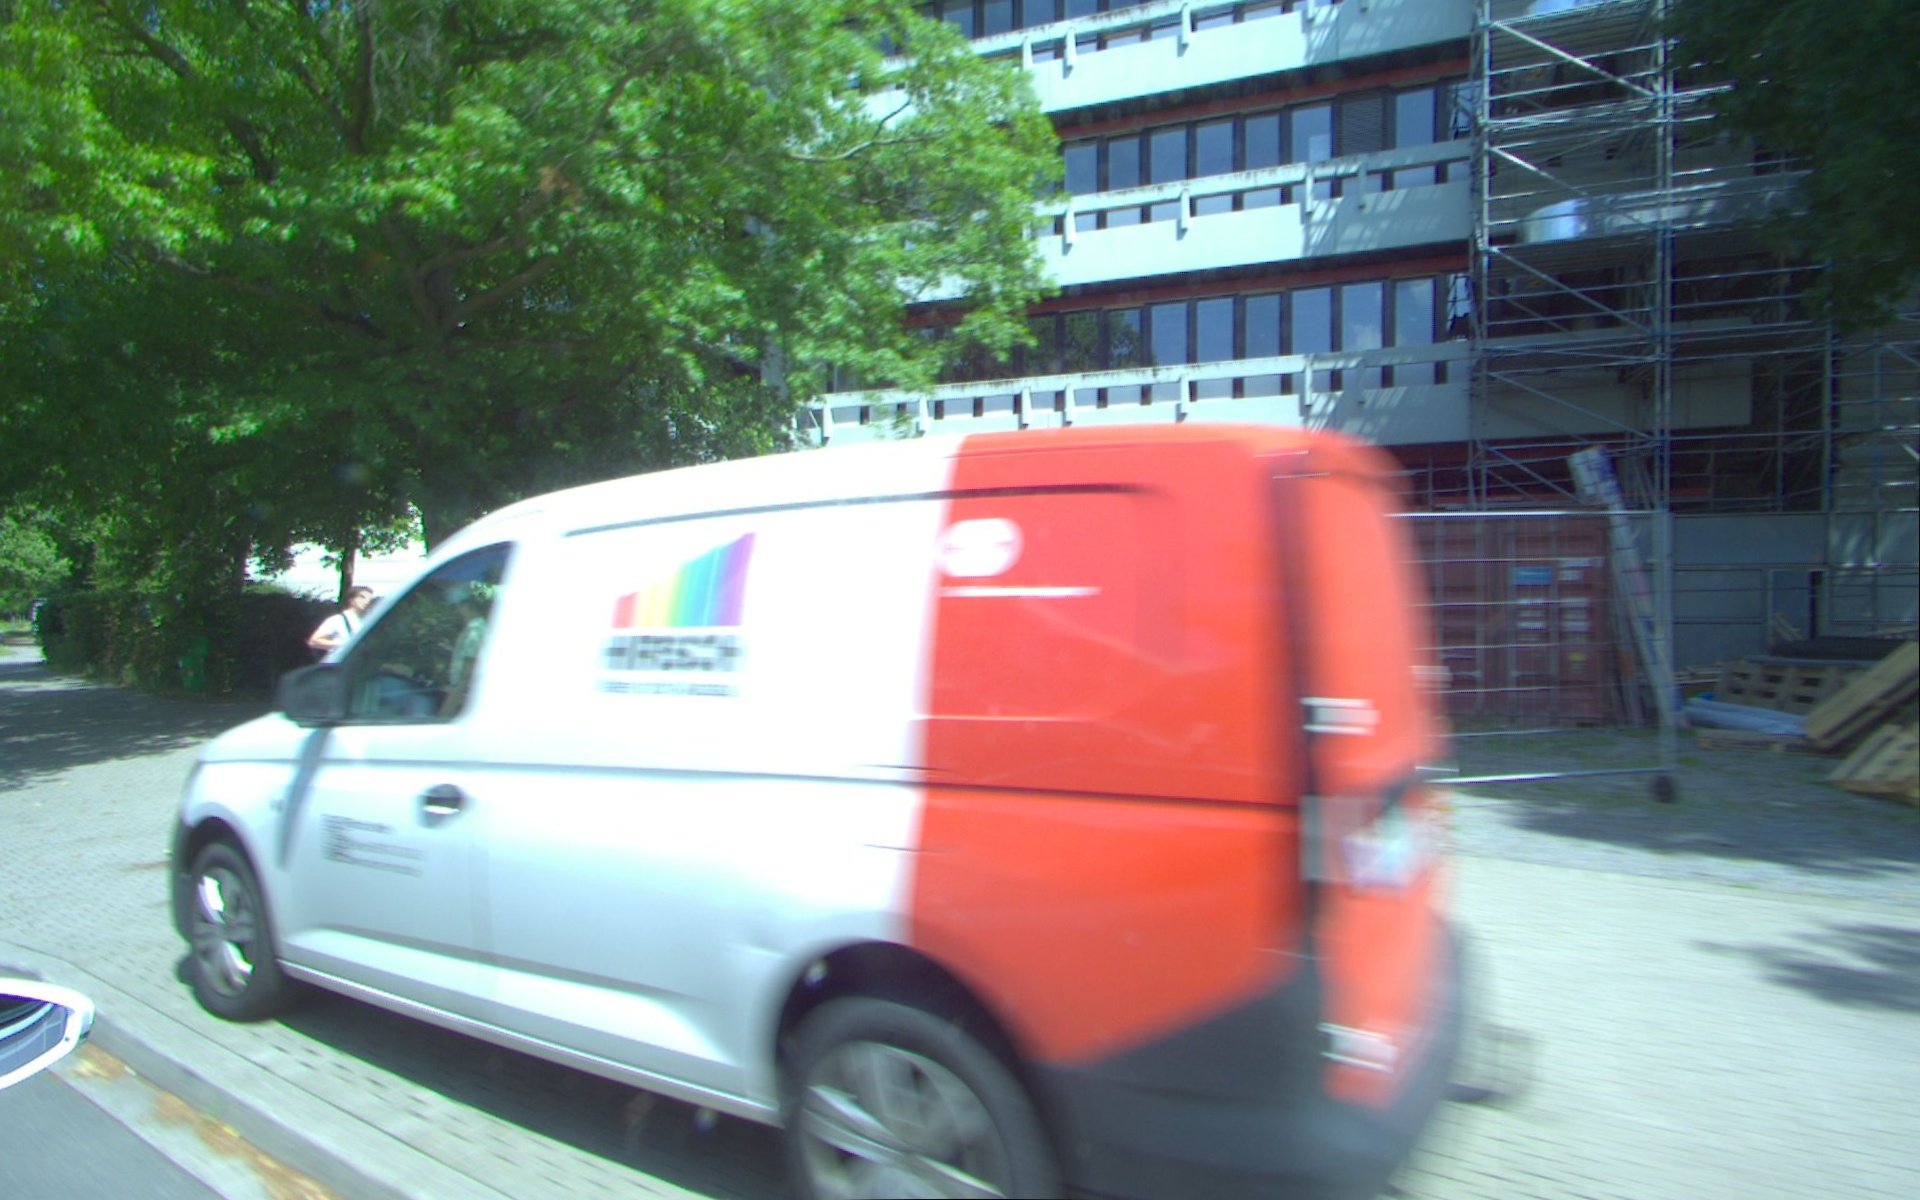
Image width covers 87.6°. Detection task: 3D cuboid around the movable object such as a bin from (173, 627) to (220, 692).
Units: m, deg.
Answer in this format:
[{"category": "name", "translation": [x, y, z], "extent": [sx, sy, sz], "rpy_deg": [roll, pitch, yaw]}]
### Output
[{"category": "movable object such as a bin", "translation": [-13.230, 1.021, 17.352], "extent": [0.497, 1.086, 0.489], "rpy_deg": [0, 0, 28]}]

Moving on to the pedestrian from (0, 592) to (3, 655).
[{"category": "pedestrian", "translation": [-29.507, 0.707, 30.318], "extent": [0.666, 1.897, 0.786], "rpy_deg": [0, 0, -38]}]

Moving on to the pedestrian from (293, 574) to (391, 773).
[{"category": "pedestrian", "translation": [-5.964, 0.685, 9.697], "extent": [0.618, 1.845, 0.722], "rpy_deg": [0, 0, -15]}]

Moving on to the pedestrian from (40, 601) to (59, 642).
[{"category": "pedestrian", "translation": [-39.793, 0.948, 43.762], "extent": [0.597, 1.778, 0.623], "rpy_deg": [0, 0, -41]}]

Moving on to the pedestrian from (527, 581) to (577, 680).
[{"category": "pedestrian", "translation": [-7.855, 0.574, 19.286], "extent": [0.750, 1.861, 0.543], "rpy_deg": [0, 0, 27]}]

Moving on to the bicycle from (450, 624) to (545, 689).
[{"category": "bicycle", "translation": [-8.413, 1.004, 18.200], "extent": [1.909, 1.133, 0.498], "rpy_deg": [0, 0, 27]}]

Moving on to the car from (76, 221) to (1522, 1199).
[{"category": "car", "translation": [-0.868, 0.455, 3.410], "extent": [4.818, 1.916, 1.845], "rpy_deg": [0, 0, 31]}]

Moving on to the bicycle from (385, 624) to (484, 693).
[{"category": "bicycle", "translation": [-9.084, 0.987, 17.295], "extent": [1.905, 1.133, 0.498], "rpy_deg": [0, 0, 27]}]

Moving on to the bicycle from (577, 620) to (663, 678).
[{"category": "bicycle", "translation": [-6.920, 0.978, 20.341], "extent": [1.842, 1.133, 0.498], "rpy_deg": [0, 0, 27]}]

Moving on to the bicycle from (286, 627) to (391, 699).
[{"category": "bicycle", "translation": [-10.353, 1.031, 16.670], "extent": [1.842, 1.133, 0.619], "rpy_deg": [0, 0, 26]}]

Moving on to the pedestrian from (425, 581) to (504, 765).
[{"category": "pedestrian", "translation": [-4.860, 0.694, 9.850], "extent": [0.554, 1.732, 0.744], "rpy_deg": [0, 0, -15]}]

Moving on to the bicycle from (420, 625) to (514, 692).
[{"category": "bicycle", "translation": [-8.739, 1.011, 17.733], "extent": [1.842, 1.133, 0.498], "rpy_deg": [0, 0, 27]}]

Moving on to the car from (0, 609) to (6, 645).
[{"category": "car", "translation": [-43.147, 1.172, 41.956], "extent": [1.791, 1.545, 4.461], "rpy_deg": [0, 0, 42]}]

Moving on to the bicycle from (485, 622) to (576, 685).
[{"category": "bicycle", "translation": [-8.063, 0.990, 18.768], "extent": [1.842, 1.133, 0.498], "rpy_deg": [0, 0, 27]}]

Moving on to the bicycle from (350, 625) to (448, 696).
[{"category": "bicycle", "translation": [-9.474, 0.999, 16.903], "extent": [1.842, 1.133, 0.498], "rpy_deg": [0, 0, 27]}]

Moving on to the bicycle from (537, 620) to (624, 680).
[{"category": "bicycle", "translation": [-7.504, 0.966, 19.776], "extent": [1.842, 1.133, 0.498], "rpy_deg": [0, 0, 27]}]
